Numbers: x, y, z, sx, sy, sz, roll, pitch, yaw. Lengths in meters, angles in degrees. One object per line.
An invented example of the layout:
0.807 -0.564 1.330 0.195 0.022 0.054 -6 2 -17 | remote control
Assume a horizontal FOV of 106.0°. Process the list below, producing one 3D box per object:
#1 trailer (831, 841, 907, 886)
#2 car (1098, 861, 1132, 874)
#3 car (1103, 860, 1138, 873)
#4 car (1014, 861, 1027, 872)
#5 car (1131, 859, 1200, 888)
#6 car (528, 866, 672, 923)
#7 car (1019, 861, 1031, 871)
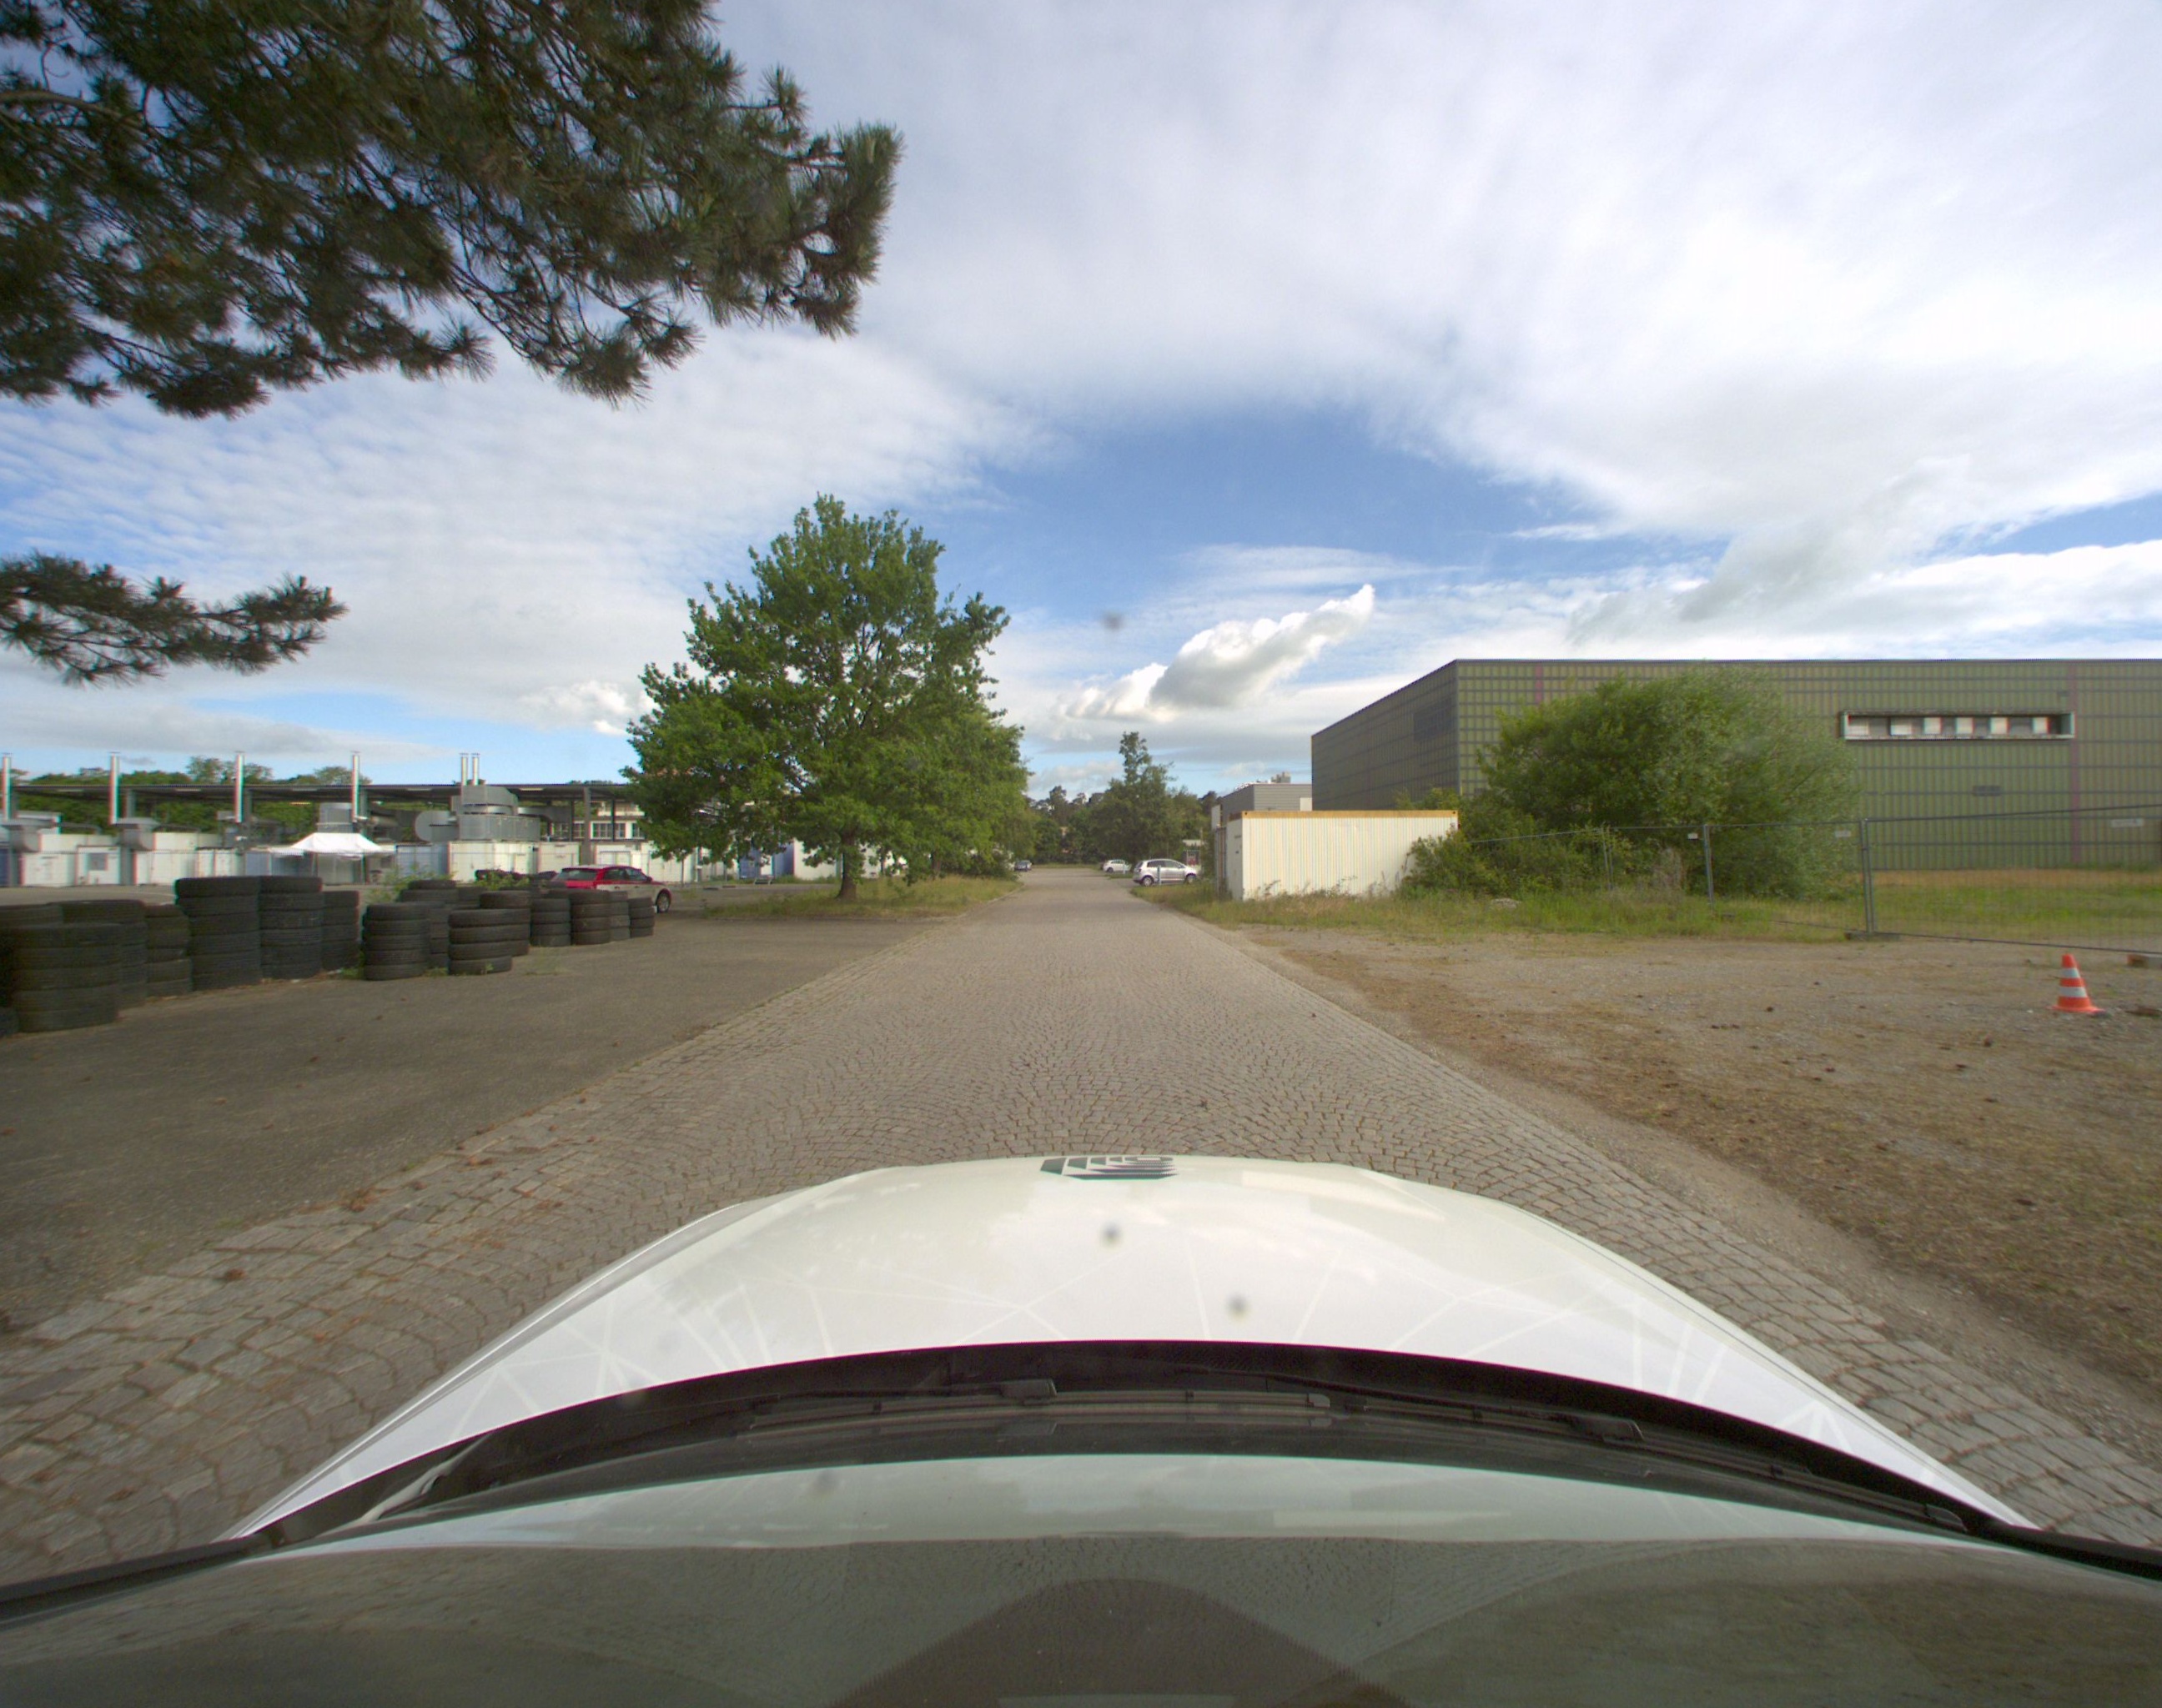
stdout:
-15.497 0.667 60.318 3.147 3.067 8.785 0 0 1 | trailer
4.176 1.637 99.829 3.979 1.601 1.727 0 -1 -4 | car
4.569 1.464 94.287 4.012 1.502 1.548 0 -1 0 | car
-8.382 1.728 113.012 1.731 1.469 4.041 0 -1 -3 | car
4.943 1.148 48.154 3.842 1.654 1.684 0 -1 -4 | car
-13.391 1.081 22.932 1.758 1.453 3.493 0 -1 5 | car
-8.387 1.798 122.367 1.800 1.535 3.995 0 -1 -3 | car
